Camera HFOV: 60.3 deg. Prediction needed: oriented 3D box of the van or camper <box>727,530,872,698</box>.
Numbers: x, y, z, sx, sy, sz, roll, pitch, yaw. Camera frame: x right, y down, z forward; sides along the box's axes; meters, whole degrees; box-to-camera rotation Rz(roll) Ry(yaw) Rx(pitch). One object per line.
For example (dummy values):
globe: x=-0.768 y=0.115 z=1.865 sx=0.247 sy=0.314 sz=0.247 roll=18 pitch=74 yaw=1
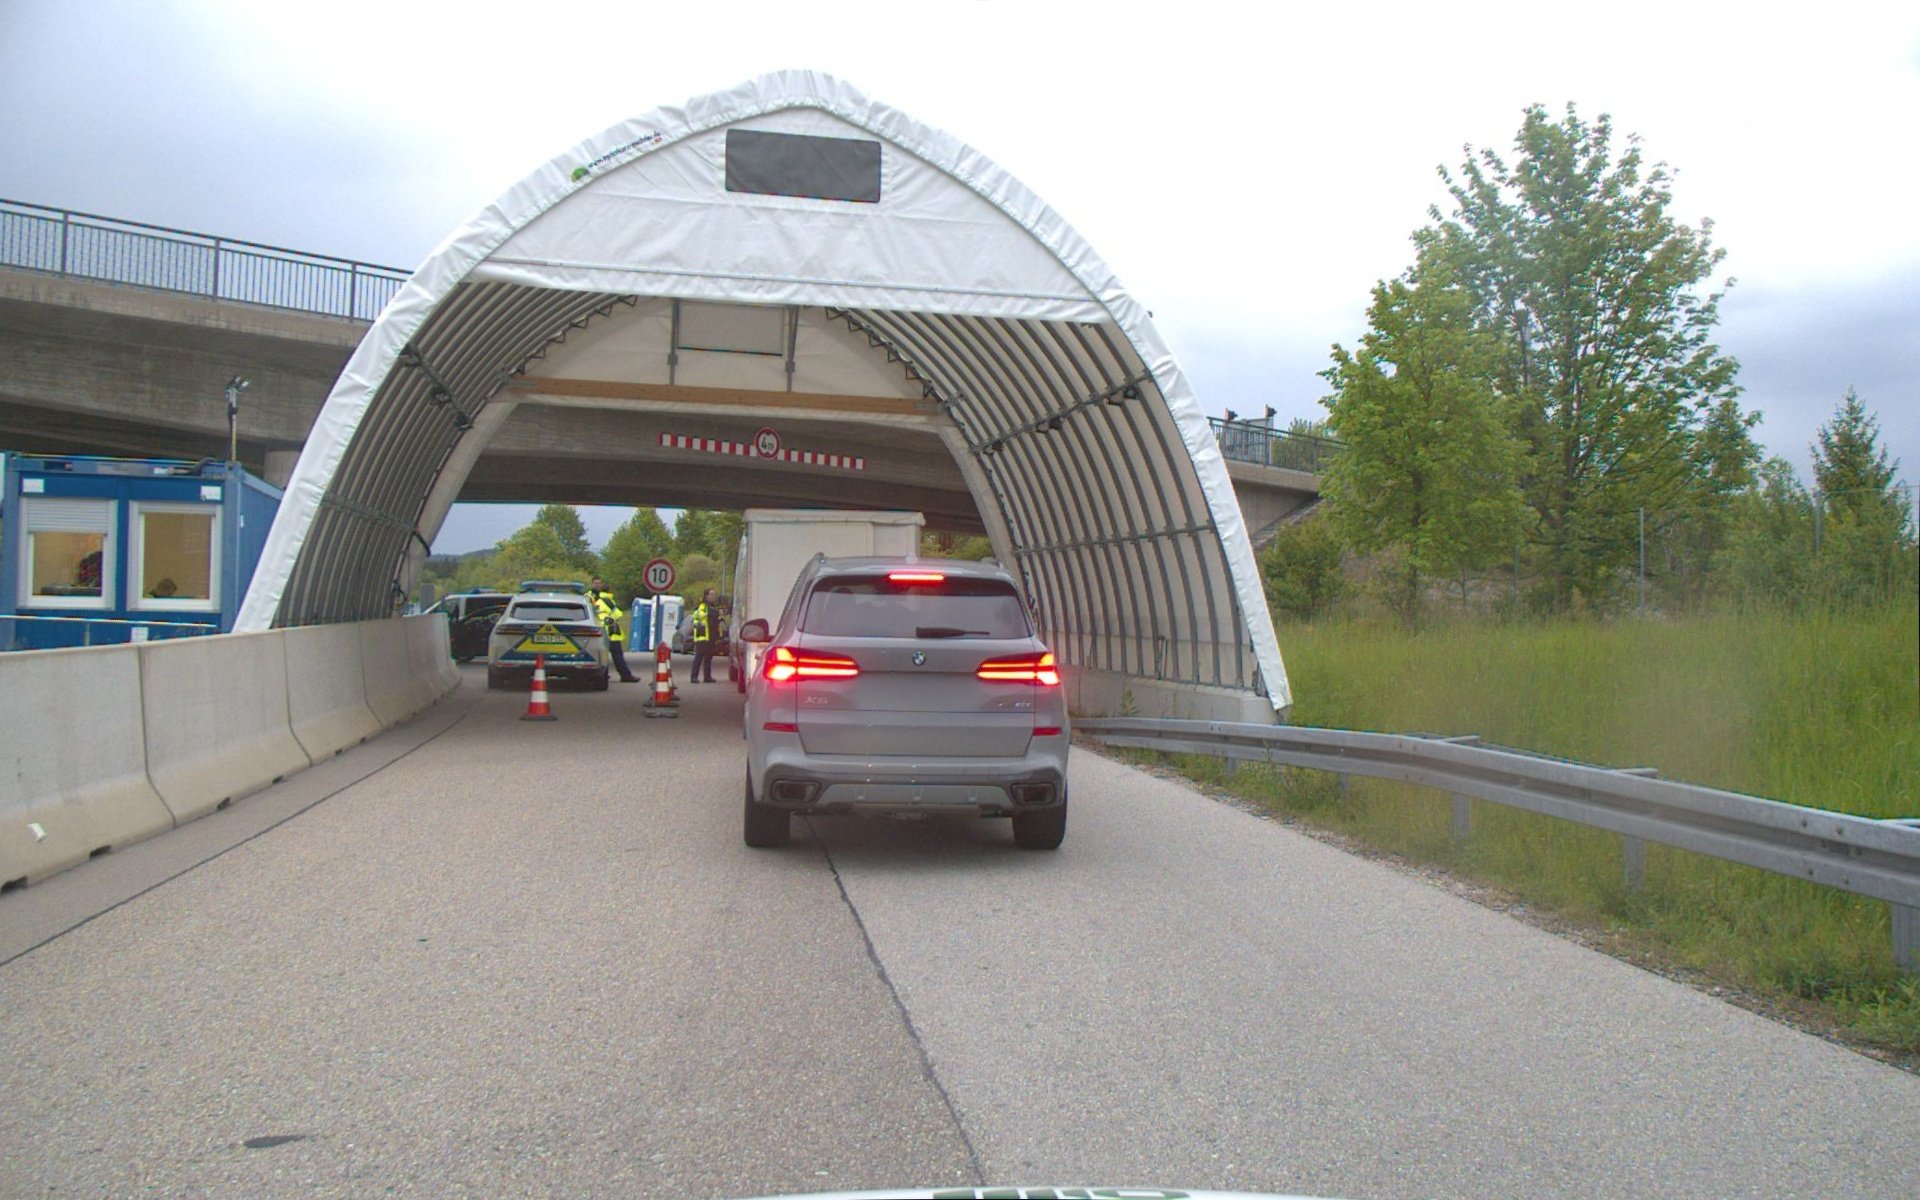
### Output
van or camper: x=-2.837 y=0.226 z=28.067 sx=2.065 sy=2.563 sz=5.538 roll=0 pitch=0 yaw=-10

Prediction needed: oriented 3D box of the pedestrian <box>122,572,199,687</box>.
pedestrian: x=-9.866 y=0.363 z=20.426 sx=0.597 sy=1.397 sz=0.628 roll=0 pitch=-1 yaw=8

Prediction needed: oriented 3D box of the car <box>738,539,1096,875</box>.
car: x=-0.472 y=0.578 z=10.970 sx=1.956 sy=1.796 sz=3.993 roll=0 pitch=0 yaw=-7

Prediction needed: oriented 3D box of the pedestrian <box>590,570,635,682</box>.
pedestrian: x=-6.196 y=0.460 z=29.474 sx=0.736 sy=1.952 sz=0.760 roll=0 pitch=-1 yaw=-15

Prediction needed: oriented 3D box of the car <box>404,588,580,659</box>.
car: x=-13.959 y=0.683 z=49.433 sx=4.703 sy=2.049 sz=1.842 roll=0 pitch=-1 yaw=7

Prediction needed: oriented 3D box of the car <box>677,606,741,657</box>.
car: x=-8.971 y=1.095 z=58.874 sx=1.959 sy=1.752 sz=3.883 roll=0 pitch=0 yaw=-13

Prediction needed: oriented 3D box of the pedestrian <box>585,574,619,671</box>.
pedestrian: x=-6.617 y=0.411 z=30.534 sx=0.598 sy=1.784 sz=0.664 roll=0 pitch=-1 yaw=-14

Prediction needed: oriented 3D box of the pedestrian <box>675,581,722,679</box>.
pedestrian: x=-4.744 y=0.537 z=30.006 sx=0.742 sy=1.752 sz=0.778 roll=0 pitch=-1 yaw=-18

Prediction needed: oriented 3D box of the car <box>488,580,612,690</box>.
car: x=-6.778 y=0.544 z=27.278 sx=1.846 sy=1.675 sz=3.984 roll=0 pitch=0 yaw=-15

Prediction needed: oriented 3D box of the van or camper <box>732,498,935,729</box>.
van or camper: x=-1.873 y=0.165 z=22.016 sx=2.189 sy=2.597 sz=6.597 roll=0 pitch=0 yaw=-9
